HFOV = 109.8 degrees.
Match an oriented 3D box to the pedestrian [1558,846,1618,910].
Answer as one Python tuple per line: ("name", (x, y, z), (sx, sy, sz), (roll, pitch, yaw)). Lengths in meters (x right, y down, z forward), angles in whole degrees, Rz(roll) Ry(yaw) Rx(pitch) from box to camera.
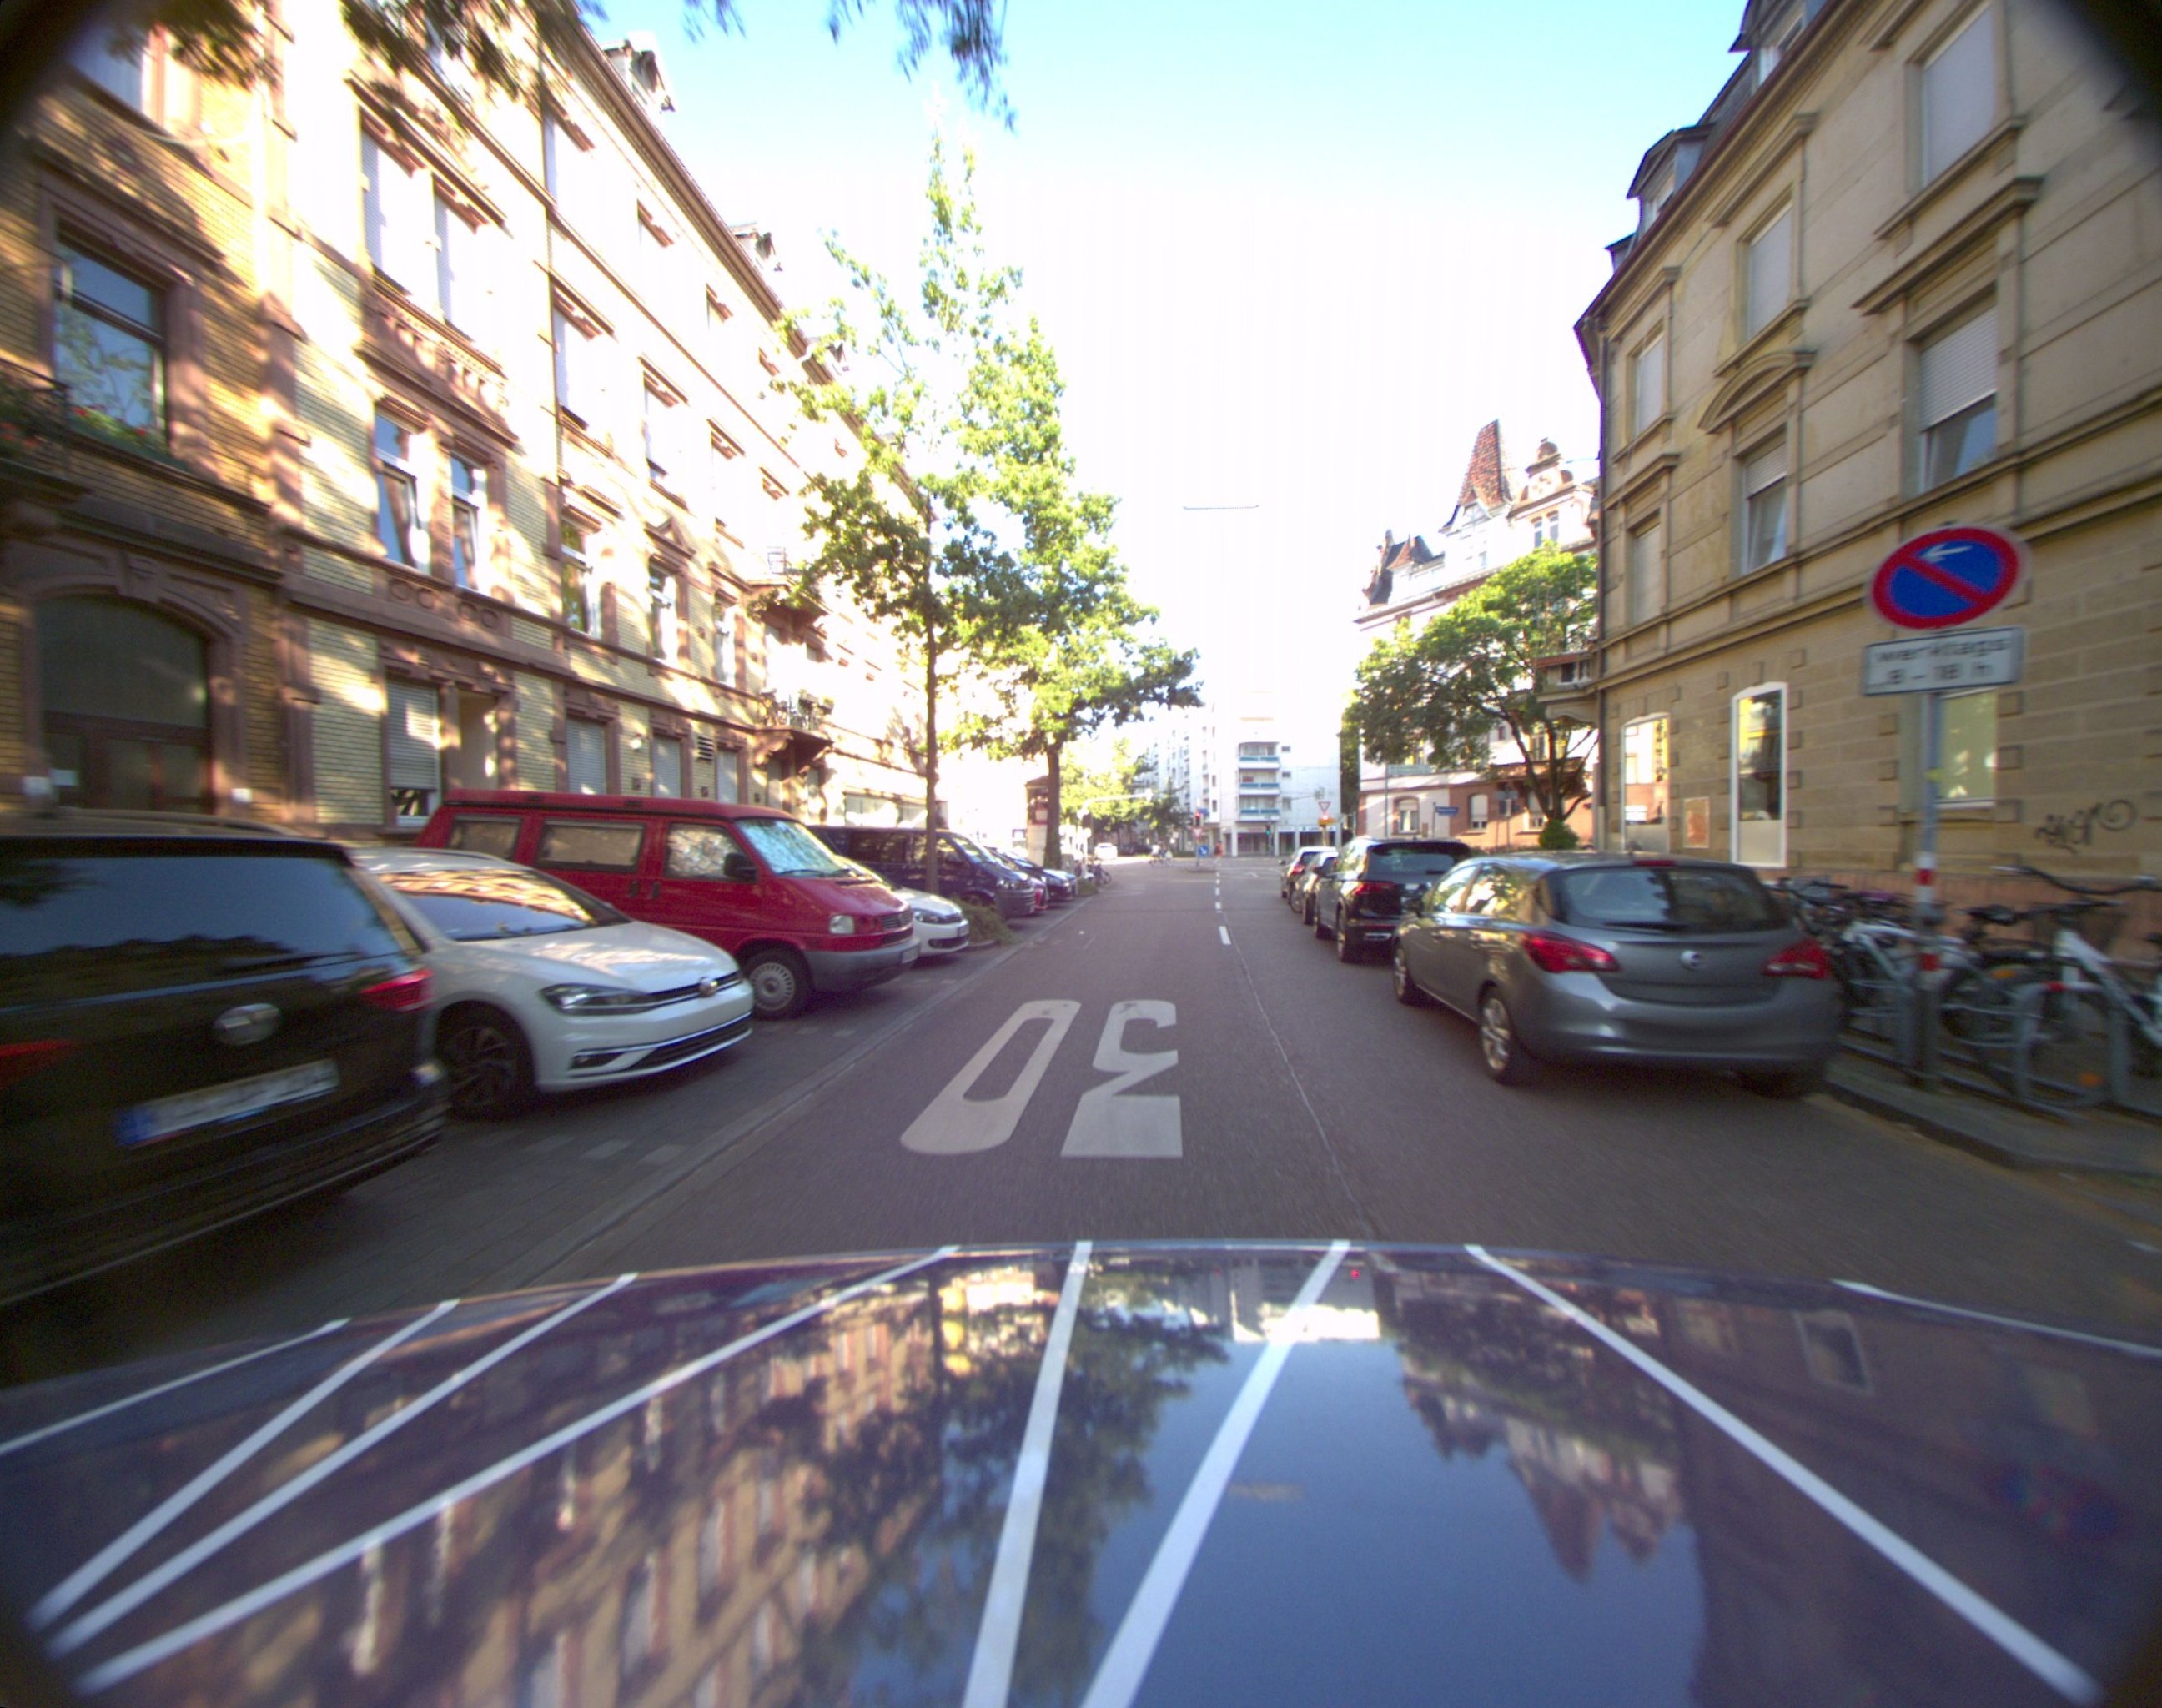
("pedestrian", (10.301, 0.479, 15.461), (0.727, 1.252, 0.757), (-1, 1, 5))

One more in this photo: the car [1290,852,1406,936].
("car", (5.494, 0.718, 16.153), (1.761, 1.443, 4.554), (0, 1, 12))

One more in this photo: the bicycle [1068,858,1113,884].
("bicycle", (0.415, 0.729, 32.674), (1.940, 1.046, 0.501), (1, 2, -30))

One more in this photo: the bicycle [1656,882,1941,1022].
("bicycle", (6.273, 0.856, 6.712), (1.871, 1.122, 0.528), (-2, 2, 7))

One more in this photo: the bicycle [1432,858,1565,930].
("bicycle", (7.030, 0.671, 12.857), (1.871, 1.122, 0.529), (-2, 2, 9))

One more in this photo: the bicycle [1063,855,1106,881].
("bicycle", (0.161, 0.614, 33.084), (1.940, 1.087, 0.424), (0, 3, -30))

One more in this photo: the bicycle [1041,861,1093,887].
("bicycle", (-0.539, 0.747, 29.152), (1.934, 0.922, 0.354), (2, 2, 6))

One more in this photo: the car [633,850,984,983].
("car", (-3.542, 0.753, 10.323), (4.062, 1.502, 1.879), (1, 1, 6))

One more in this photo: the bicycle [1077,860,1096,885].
("bicycle", (0.235, 0.714, 30.342), (0.354, 0.922, 1.526), (2, 2, 14))

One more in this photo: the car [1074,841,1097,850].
("car", (0.917, -1.682, 151.976), (4.306, 1.576, 1.997), (-1, 1, -12))

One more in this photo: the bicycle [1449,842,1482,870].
("bicycle", (17.483, 0.077, 34.626), (0.547, 1.189, 2.961), (-1, 1, 11))

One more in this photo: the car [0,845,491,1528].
("car", (-4.664, 0.794, 2.500), (4.194, 1.618, 1.838), (1, 2, 7))

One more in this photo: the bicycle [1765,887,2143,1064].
("bicycle", (6.060, 0.840, 5.352), (1.871, 1.122, 0.528), (-2, 2, 7))

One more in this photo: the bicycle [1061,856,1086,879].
("bicycle", (-0.363, 0.624, 35.939), (1.000, 1.021, 0.737), (-1, 1, -15))

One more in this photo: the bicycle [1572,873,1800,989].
("bicycle", (6.355, 0.806, 8.048), (1.871, 1.122, 0.528), (-2, 2, 7))

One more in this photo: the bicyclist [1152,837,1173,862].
("bicyclist", (5.184, -0.283, 48.255), (1.082, 1.544, 0.633), (-3, 1, -23))

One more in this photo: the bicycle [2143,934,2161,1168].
("bicycle", (6.100, 0.922, 3.347), (1.871, 1.122, 0.528), (-2, 2, 7))

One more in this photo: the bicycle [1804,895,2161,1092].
("bicycle", (5.850, 0.870, 4.826), (1.871, 1.122, 0.528), (-2, 2, 7))

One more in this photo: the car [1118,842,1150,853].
("car", (7.796, -0.928, 111.301), (4.306, 1.576, 1.997), (-1, 1, -13))

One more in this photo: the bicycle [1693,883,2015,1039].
("bicycle", (6.082, 0.843, 6.056), (1.871, 1.122, 0.528), (-2, 2, 7))

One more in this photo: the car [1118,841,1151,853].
("car", (7.677, -0.989, 108.637), (4.306, 1.576, 1.997), (-1, 1, -13))

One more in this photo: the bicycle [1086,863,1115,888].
("bicycle", (0.786, 0.836, 29.923), (0.353, 0.922, 1.416), (3, 3, 37))

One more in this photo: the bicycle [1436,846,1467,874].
("bicycle", (16.901, 0.258, 34.736), (0.547, 1.189, 2.961), (-1, 1, 11))

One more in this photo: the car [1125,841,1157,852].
("car", (8.389, -1.057, 106.299), (4.001, 1.576, 1.997), (-1, 1, -13))

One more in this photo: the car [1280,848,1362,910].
("car", (6.530, 0.605, 21.048), (1.761, 1.479, 4.142), (0, 1, 12))

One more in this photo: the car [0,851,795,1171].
("car", (-4.592, 0.788, 5.079), (4.683, 1.506, 1.880), (1, 2, 8))

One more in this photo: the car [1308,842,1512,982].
("car", (4.442, 0.631, 10.996), (1.761, 1.591, 4.554), (0, 1, 11))

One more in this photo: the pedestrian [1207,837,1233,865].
("pedestrian", (8.685, -0.185, 47.491), (1.175, 1.670, 1.005), (-2, 1, -23))

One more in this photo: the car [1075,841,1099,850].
("car", (1.114, -1.639, 147.213), (4.306, 1.576, 1.997), (-1, 1, -12))

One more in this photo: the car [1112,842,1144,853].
("car", (6.995, -1.010, 113.604), (4.306, 1.576, 1.997), (-1, 1, -13))

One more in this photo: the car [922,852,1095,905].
("car", (-2.109, 0.677, 22.584), (4.794, 1.405, 1.852), (1, 2, 9))

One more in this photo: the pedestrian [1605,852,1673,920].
("pedestrian", (10.344, 0.585, 14.108), (0.727, 1.207, 0.757), (-1, 1, 5))

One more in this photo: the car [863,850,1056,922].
("car", (-2.763, 0.720, 17.840), (4.114, 1.526, 1.725), (-1, 1, 7))

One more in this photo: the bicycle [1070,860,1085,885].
("bicycle", (-0.142, 0.714, 30.515), (0.354, 0.922, 1.526), (2, 2, 8))

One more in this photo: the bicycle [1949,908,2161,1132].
("bicycle", (6.141, 0.886, 4.212), (1.871, 1.122, 0.528), (-2, 2, 7))

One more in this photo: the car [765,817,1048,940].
("car", (-3.324, 0.461, 15.072), (5.031, 2.202, 1.993), (-1, 1, 7))

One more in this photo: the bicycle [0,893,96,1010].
("bicycle", (-9.612, 0.872, 6.267), (0.405, 0.957, 1.868), (2, 1, 7))

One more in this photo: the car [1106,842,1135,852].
("car", (6.459, -1.155, 123.010), (4.306, 1.576, 1.997), (-1, 1, -12))

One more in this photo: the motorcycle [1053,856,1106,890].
("motorcycle", (-0.043, 0.699, 28.479), (1.901, 1.227, 0.686), (1, 2, 7))

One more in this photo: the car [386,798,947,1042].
("car", (-3.905, 0.523, 7.605), (4.684, 2.022, 1.879), (1, 2, 7))

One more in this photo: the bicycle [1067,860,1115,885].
("bicycle", (0.423, 0.765, 31.735), (1.938, 0.982, 0.496), (1, 2, -15))

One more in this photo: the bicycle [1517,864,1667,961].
("bicycle", (6.720, 0.739, 9.988), (1.874, 1.122, 0.527), (-3, 2, -16))

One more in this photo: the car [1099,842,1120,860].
("car", (2.826, -0.343, 76.089), (1.998, 1.740, 3.999), (-1, 1, 0))

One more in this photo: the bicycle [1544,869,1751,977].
("bicycle", (6.432, 0.779, 8.689), (1.871, 1.122, 0.528), (-2, 2, 7))

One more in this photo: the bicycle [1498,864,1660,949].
("bicycle", (7.079, 0.749, 10.858), (1.871, 1.122, 0.529), (-2, 2, 9))

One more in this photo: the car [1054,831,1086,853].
("car", (-1.727, -1.761, 112.456), (3.327, 3.161, 8.074), (-1, 1, -11))

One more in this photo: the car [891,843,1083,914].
("car", (-2.461, 0.582, 20.194), (4.693, 1.669, 1.853), (1, 2, 16))

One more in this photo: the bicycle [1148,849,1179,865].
("bicycle", (5.235, 0.215, 48.273), (1.881, 0.907, 0.633), (-3, 1, -23))

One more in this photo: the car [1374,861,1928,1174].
("car", (3.669, 0.840, 5.943), (1.761, 1.492, 4.062), (0, 1, 9))
